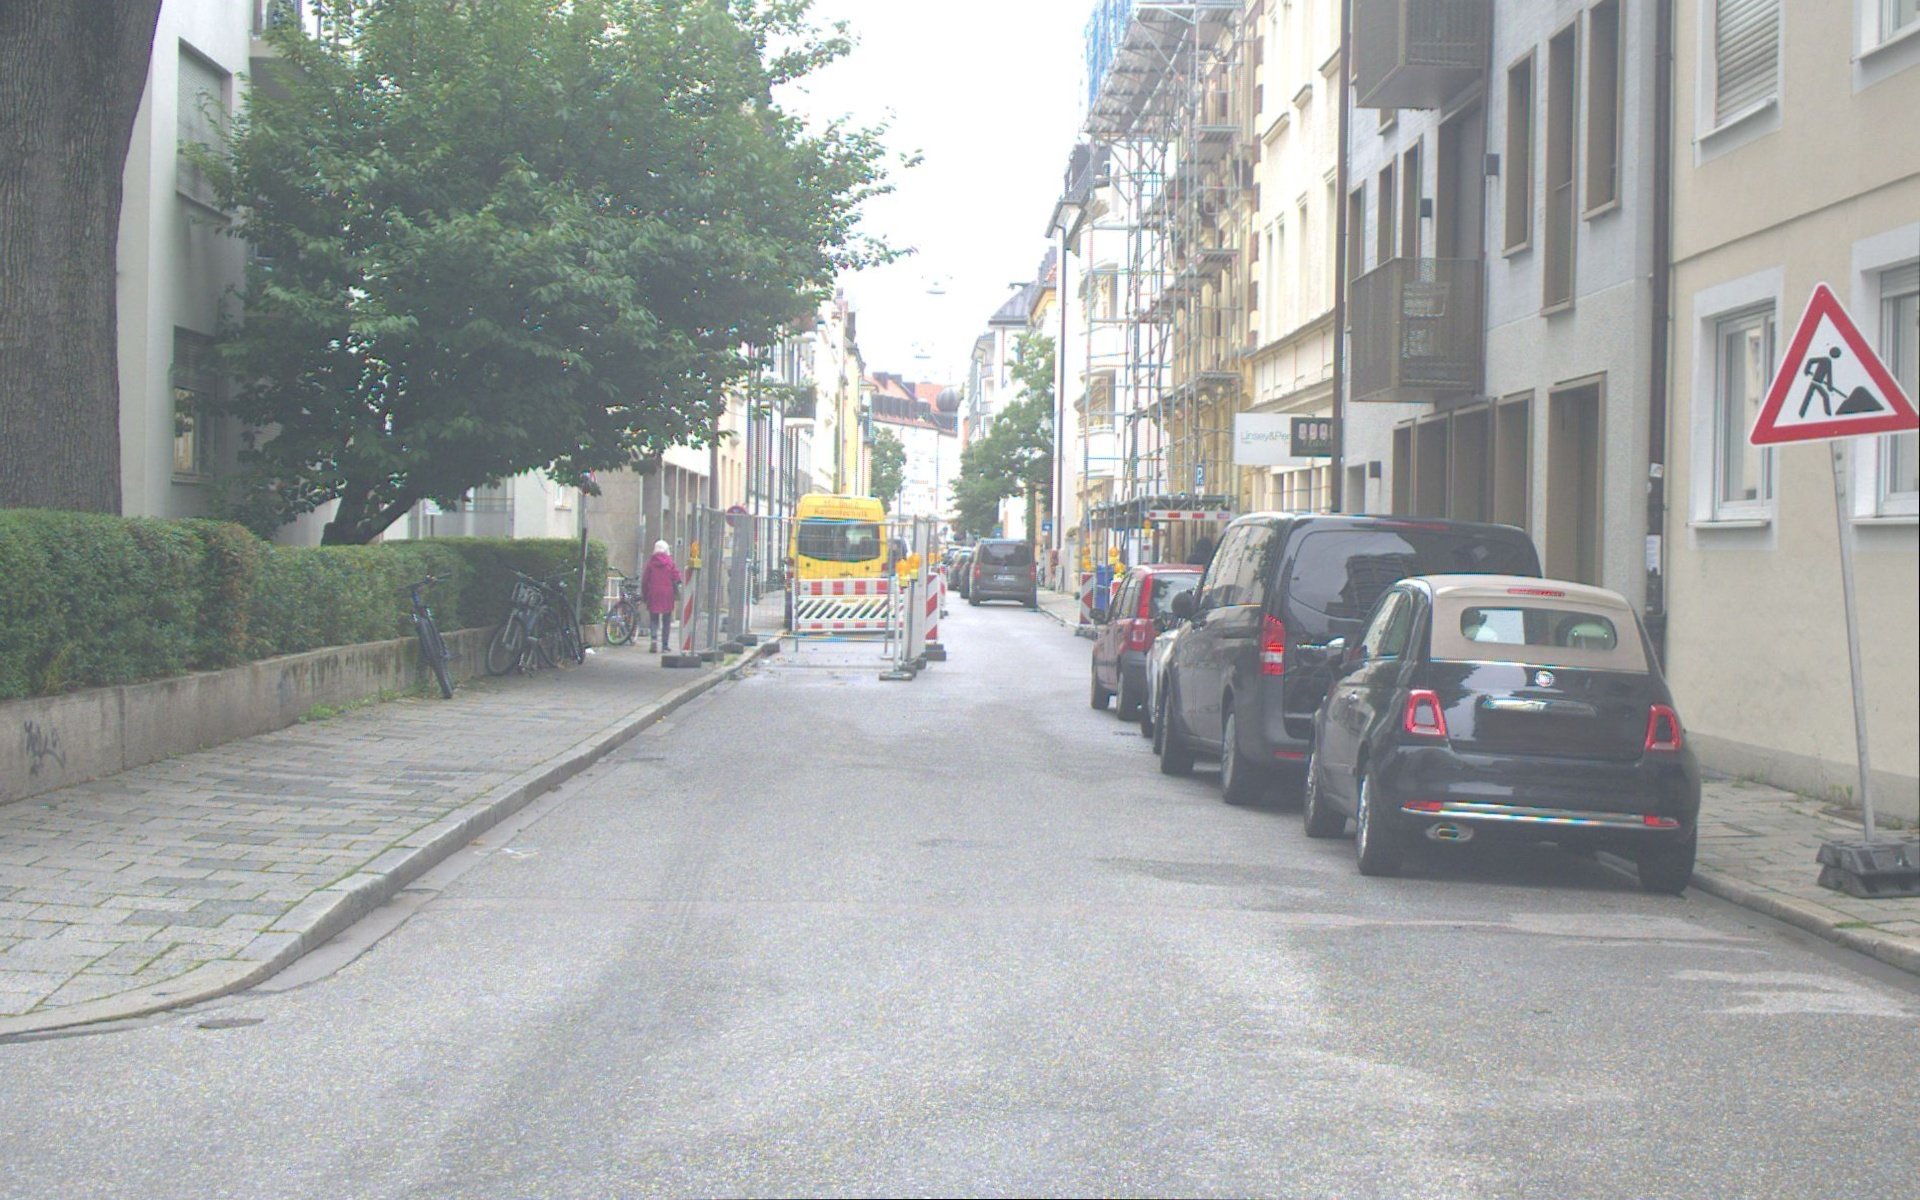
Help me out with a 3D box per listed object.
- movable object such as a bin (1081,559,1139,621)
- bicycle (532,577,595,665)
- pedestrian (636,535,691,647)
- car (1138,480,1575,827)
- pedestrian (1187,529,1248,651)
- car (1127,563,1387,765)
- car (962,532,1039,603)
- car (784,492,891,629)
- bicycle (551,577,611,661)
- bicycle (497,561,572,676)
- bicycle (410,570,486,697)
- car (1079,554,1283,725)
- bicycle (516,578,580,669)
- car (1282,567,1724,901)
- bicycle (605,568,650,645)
[{"bbox_3d":[3.421,-0.228,78.220,1.087,1.341,1.317,-2,1,12],"label":"movable object such as a bin"},{"bbox_3d":[-4.634,0.246,40.256,0.443,0.975,1.853,4,0,0],"label":"bicycle"},{"bbox_3d":[-4.162,-0.131,48.254,0.638,1.526,0.747,2,1,1],"label":"pedestrian"},{"bbox_3d":[2.494,0.277,22.942,1.990,1.970,4.886,3,1,-3],"label":"car"},{"bbox_3d":[3.776,-0.149,50.513,0.729,1.746,0.988,-3,1,-2],"label":"pedestrian"},{"bbox_3d":[2.409,0.471,28.840,1.768,1.456,4.380,3,1,1],"label":"car"},{"bbox_3d":[1.157,-0.971,100.633,1.993,1.925,4.660,2,1,-2],"label":"car"},{"bbox_3d":[-2.413,-0.802,68.540,1.993,2.570,6.737,1,1,-2],"label":"car"},{"bbox_3d":[-4.637,0.230,42.122,0.443,0.975,1.816,4,0,0],"label":"bicycle"},{"bbox_3d":[-4.470,0.191,36.229,0.488,1.147,1.699,4,0,0],"label":"bicycle"},{"bbox_3d":[-4.573,0.284,30.771,0.346,1.068,1.780,5,1,-1],"label":"bicycle"},{"bbox_3d":[2.154,0.347,34.397,1.772,1.519,4.066,3,1,1],"label":"car"},{"bbox_3d":[-4.631,0.262,38.694,0.435,0.975,1.699,4,0,0],"label":"bicycle"},{"bbox_3d":[2.723,0.615,17.952,1.634,1.466,3.538,3,1,-1],"label":"car"},{"bbox_3d":[-4.841,0.086,50.061,0.377,1.059,1.597,7,1,0],"label":"bicycle"}]
